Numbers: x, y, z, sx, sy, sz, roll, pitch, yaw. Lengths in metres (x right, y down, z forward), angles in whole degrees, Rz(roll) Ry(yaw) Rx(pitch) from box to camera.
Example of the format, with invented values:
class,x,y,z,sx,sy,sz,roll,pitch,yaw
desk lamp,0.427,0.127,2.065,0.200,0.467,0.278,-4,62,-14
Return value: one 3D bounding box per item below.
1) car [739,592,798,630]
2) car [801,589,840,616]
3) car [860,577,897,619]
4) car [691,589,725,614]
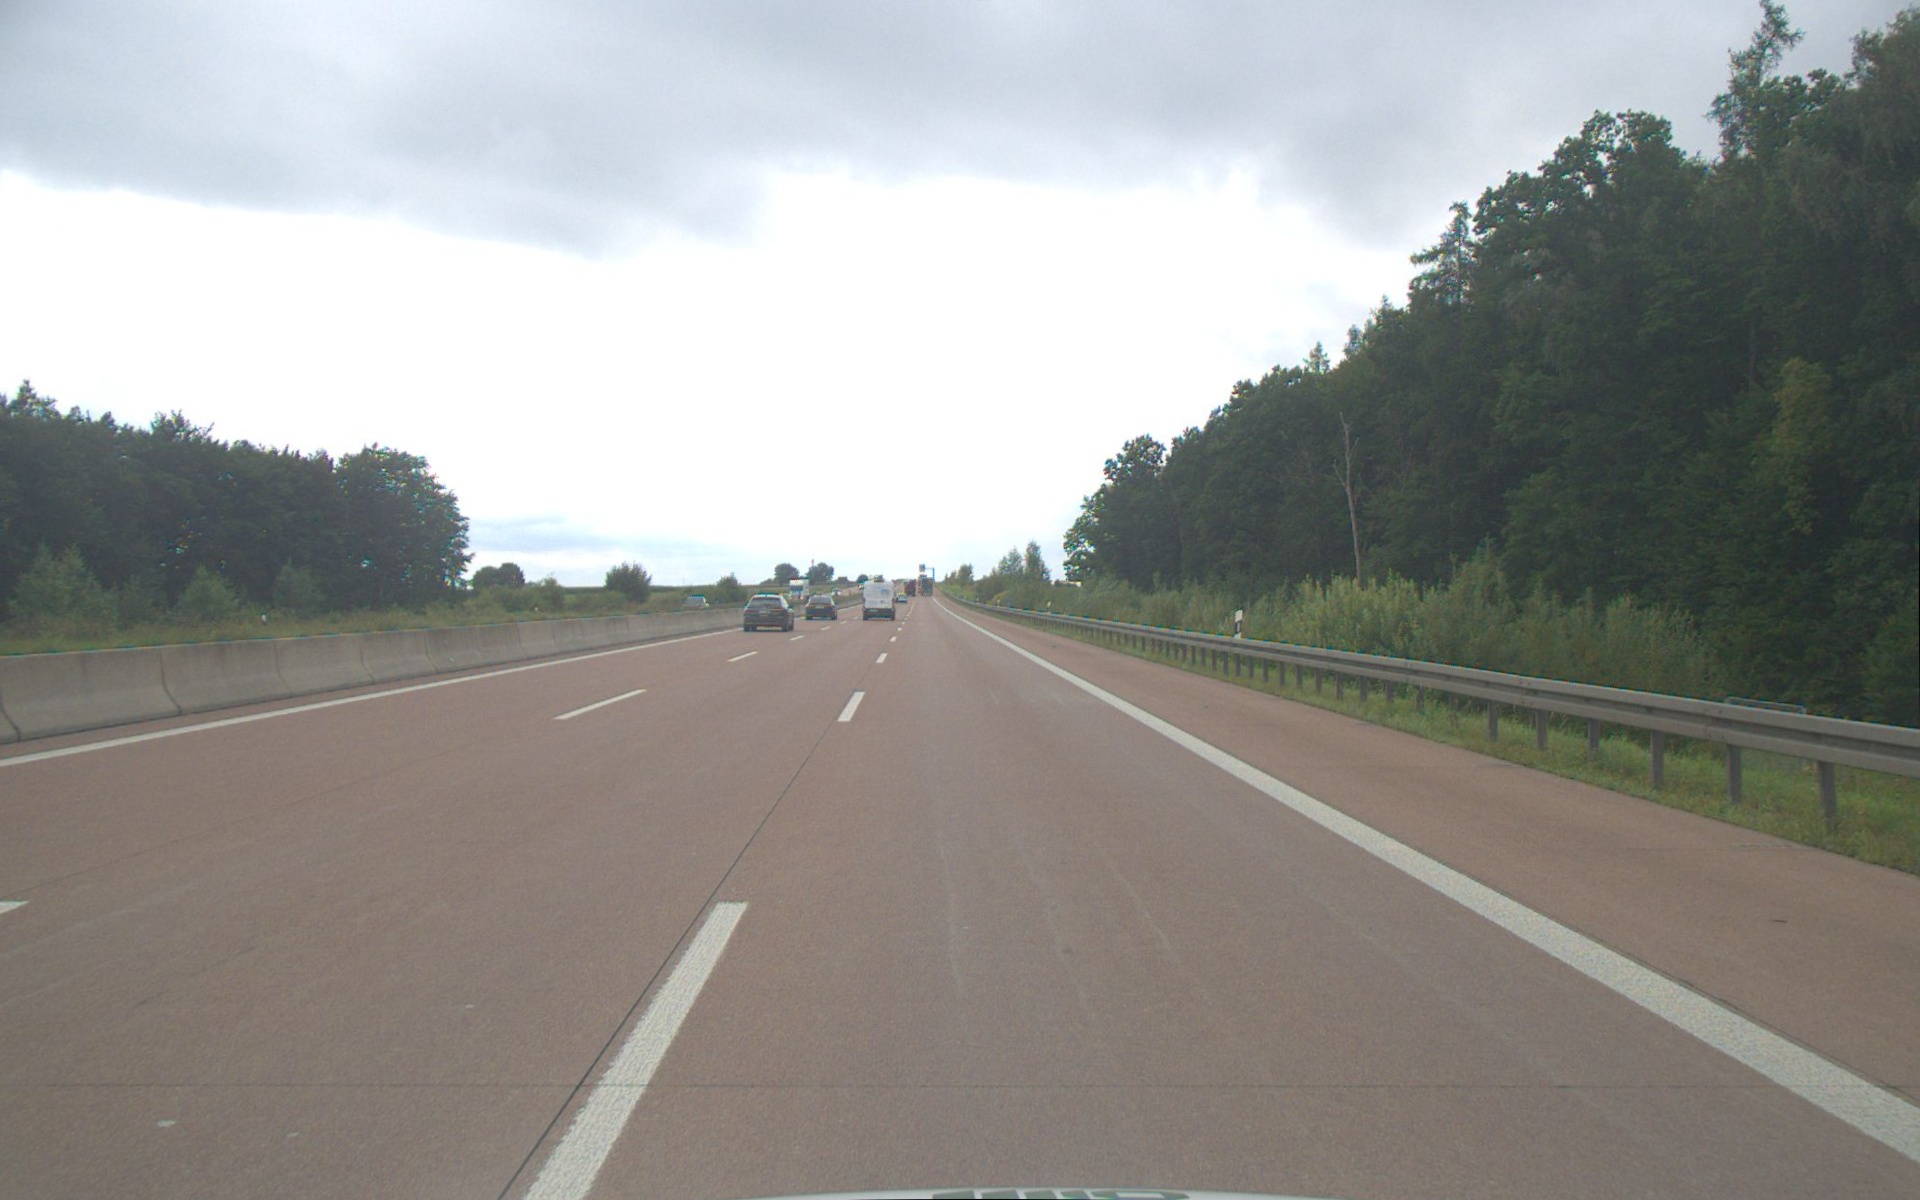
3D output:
class,x,y,z,sx,sy,sz,roll,pitch,yaw
car,-8.037,0.434,69.797,2.017,1.517,5.451,1,0,-2
car,-8.799,0.129,104.721,2.043,1.577,5.673,1,1,-1
car,-5.158,-0.178,105.690,2.094,2.550,7.130,0,1,-1
car,-19.787,0.107,129.819,1.954,1.794,3.999,6,0,-1
